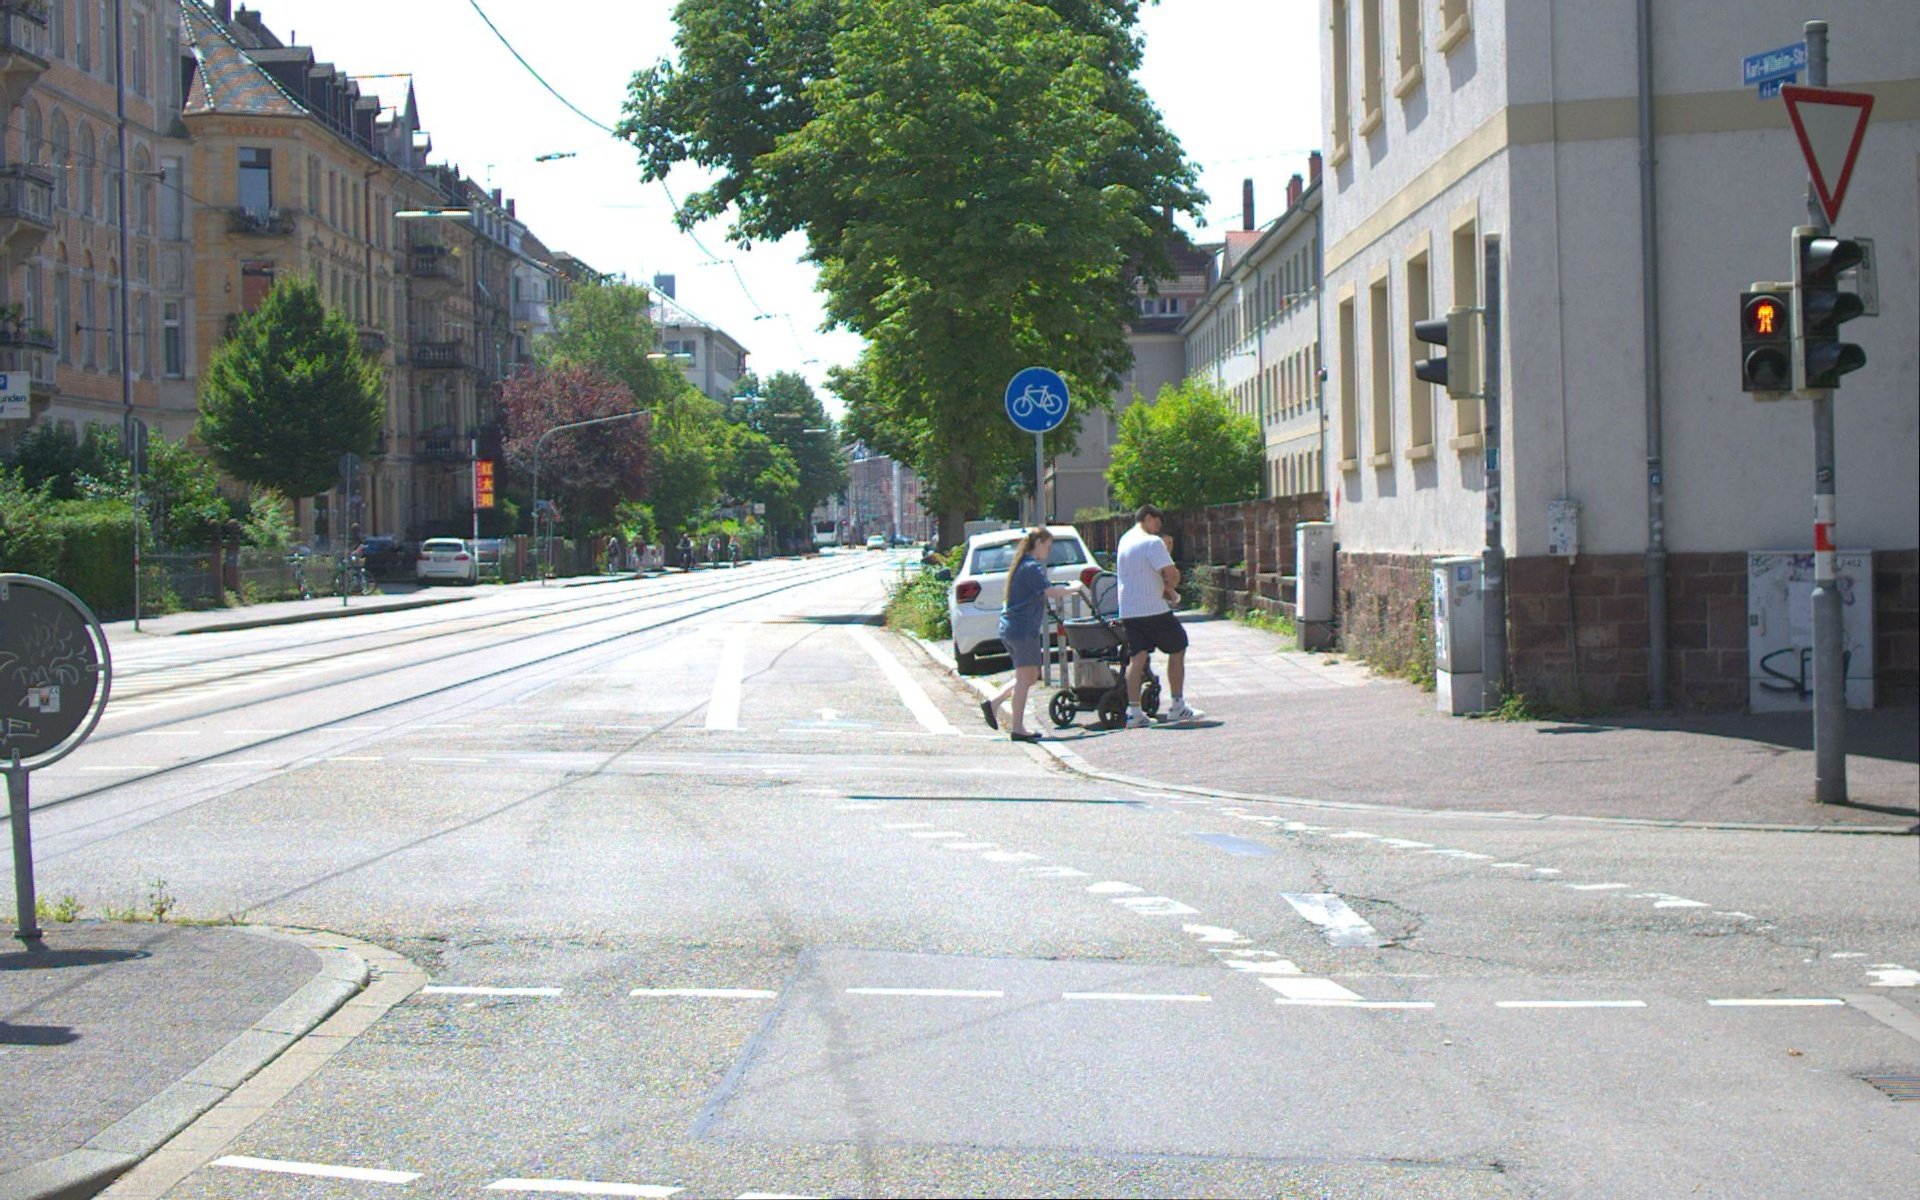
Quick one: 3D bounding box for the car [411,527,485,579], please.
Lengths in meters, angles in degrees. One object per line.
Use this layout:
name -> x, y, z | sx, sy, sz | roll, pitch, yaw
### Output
car -> -17.188, -1.580, 115.576 | 1.919, 1.709, 4.000 | 1, 1, -1

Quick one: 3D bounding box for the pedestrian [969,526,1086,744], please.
pedestrian -> 0.515, 0.263, 26.309 | 0.675, 1.640, 0.558 | 1, 0, -33

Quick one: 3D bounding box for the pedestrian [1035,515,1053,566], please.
pedestrian -> 2.587, -1.837, 106.152 | 0.521, 1.557, 0.573 | -1, 1, -1

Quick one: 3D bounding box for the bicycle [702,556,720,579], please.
bicycle -> -12.678, -1.651, 175.006 | 0.727, 1.119, 2.085 | 1, 1, 1

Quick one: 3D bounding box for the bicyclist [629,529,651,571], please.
bicyclist -> -12.522, -1.960, 134.645 | 0.727, 1.623, 1.079 | 1, 0, 1

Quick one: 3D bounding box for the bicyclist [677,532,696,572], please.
bicyclist -> -12.271, -2.146, 154.335 | 0.727, 1.762, 1.079 | 1, 0, 1

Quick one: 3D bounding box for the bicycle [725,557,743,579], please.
bicycle -> -11.488, -1.631, 174.880 | 0.727, 1.119, 2.085 | 1, 1, 1

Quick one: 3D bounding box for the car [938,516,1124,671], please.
car -> 0.718, -0.086, 37.333 | 1.815, 1.511, 4.000 | -3, 1, -1

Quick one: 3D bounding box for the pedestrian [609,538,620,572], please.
pedestrian -> -14.804, -1.922, 147.350 | 0.406, 1.456, 0.436 | -1, 1, -1

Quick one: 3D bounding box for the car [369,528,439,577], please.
car -> -20.018, -1.703, 123.913 | 1.919, 1.709, 4.000 | 1, 1, -1

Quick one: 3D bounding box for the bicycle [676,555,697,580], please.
bicycle -> -12.280, -1.459, 154.384 | 0.727, 1.119, 2.085 | 1, 1, 1

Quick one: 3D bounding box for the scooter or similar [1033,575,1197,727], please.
scooter or similar -> 1.214, 0.391, 26.847 | 1.201, 1.151, 0.558 | 0, 1, -39

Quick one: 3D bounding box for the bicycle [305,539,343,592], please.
bicycle -> -15.662, -0.853, 84.679 | 0.677, 1.274, 1.919 | -1, 1, -3

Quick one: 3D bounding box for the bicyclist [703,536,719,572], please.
bicyclist -> -12.670, -2.338, 174.981 | 0.727, 1.812, 1.079 | 1, 0, 1

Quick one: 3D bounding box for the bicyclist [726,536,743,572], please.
bicyclist -> -11.471, -2.351, 174.870 | 0.727, 1.812, 1.079 | 1, 0, 1

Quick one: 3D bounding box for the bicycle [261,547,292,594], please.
bicycle -> -15.905, -0.703, 80.036 | 0.677, 1.061, 1.919 | -1, 1, -11

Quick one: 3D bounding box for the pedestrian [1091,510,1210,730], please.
pedestrian -> 1.439, 0.145, 26.010 | 0.675, 1.640, 0.558 | 1, 0, -33

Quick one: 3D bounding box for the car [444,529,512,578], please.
car -> -17.332, -1.665, 123.840 | 1.919, 1.709, 4.000 | 1, 1, -1
